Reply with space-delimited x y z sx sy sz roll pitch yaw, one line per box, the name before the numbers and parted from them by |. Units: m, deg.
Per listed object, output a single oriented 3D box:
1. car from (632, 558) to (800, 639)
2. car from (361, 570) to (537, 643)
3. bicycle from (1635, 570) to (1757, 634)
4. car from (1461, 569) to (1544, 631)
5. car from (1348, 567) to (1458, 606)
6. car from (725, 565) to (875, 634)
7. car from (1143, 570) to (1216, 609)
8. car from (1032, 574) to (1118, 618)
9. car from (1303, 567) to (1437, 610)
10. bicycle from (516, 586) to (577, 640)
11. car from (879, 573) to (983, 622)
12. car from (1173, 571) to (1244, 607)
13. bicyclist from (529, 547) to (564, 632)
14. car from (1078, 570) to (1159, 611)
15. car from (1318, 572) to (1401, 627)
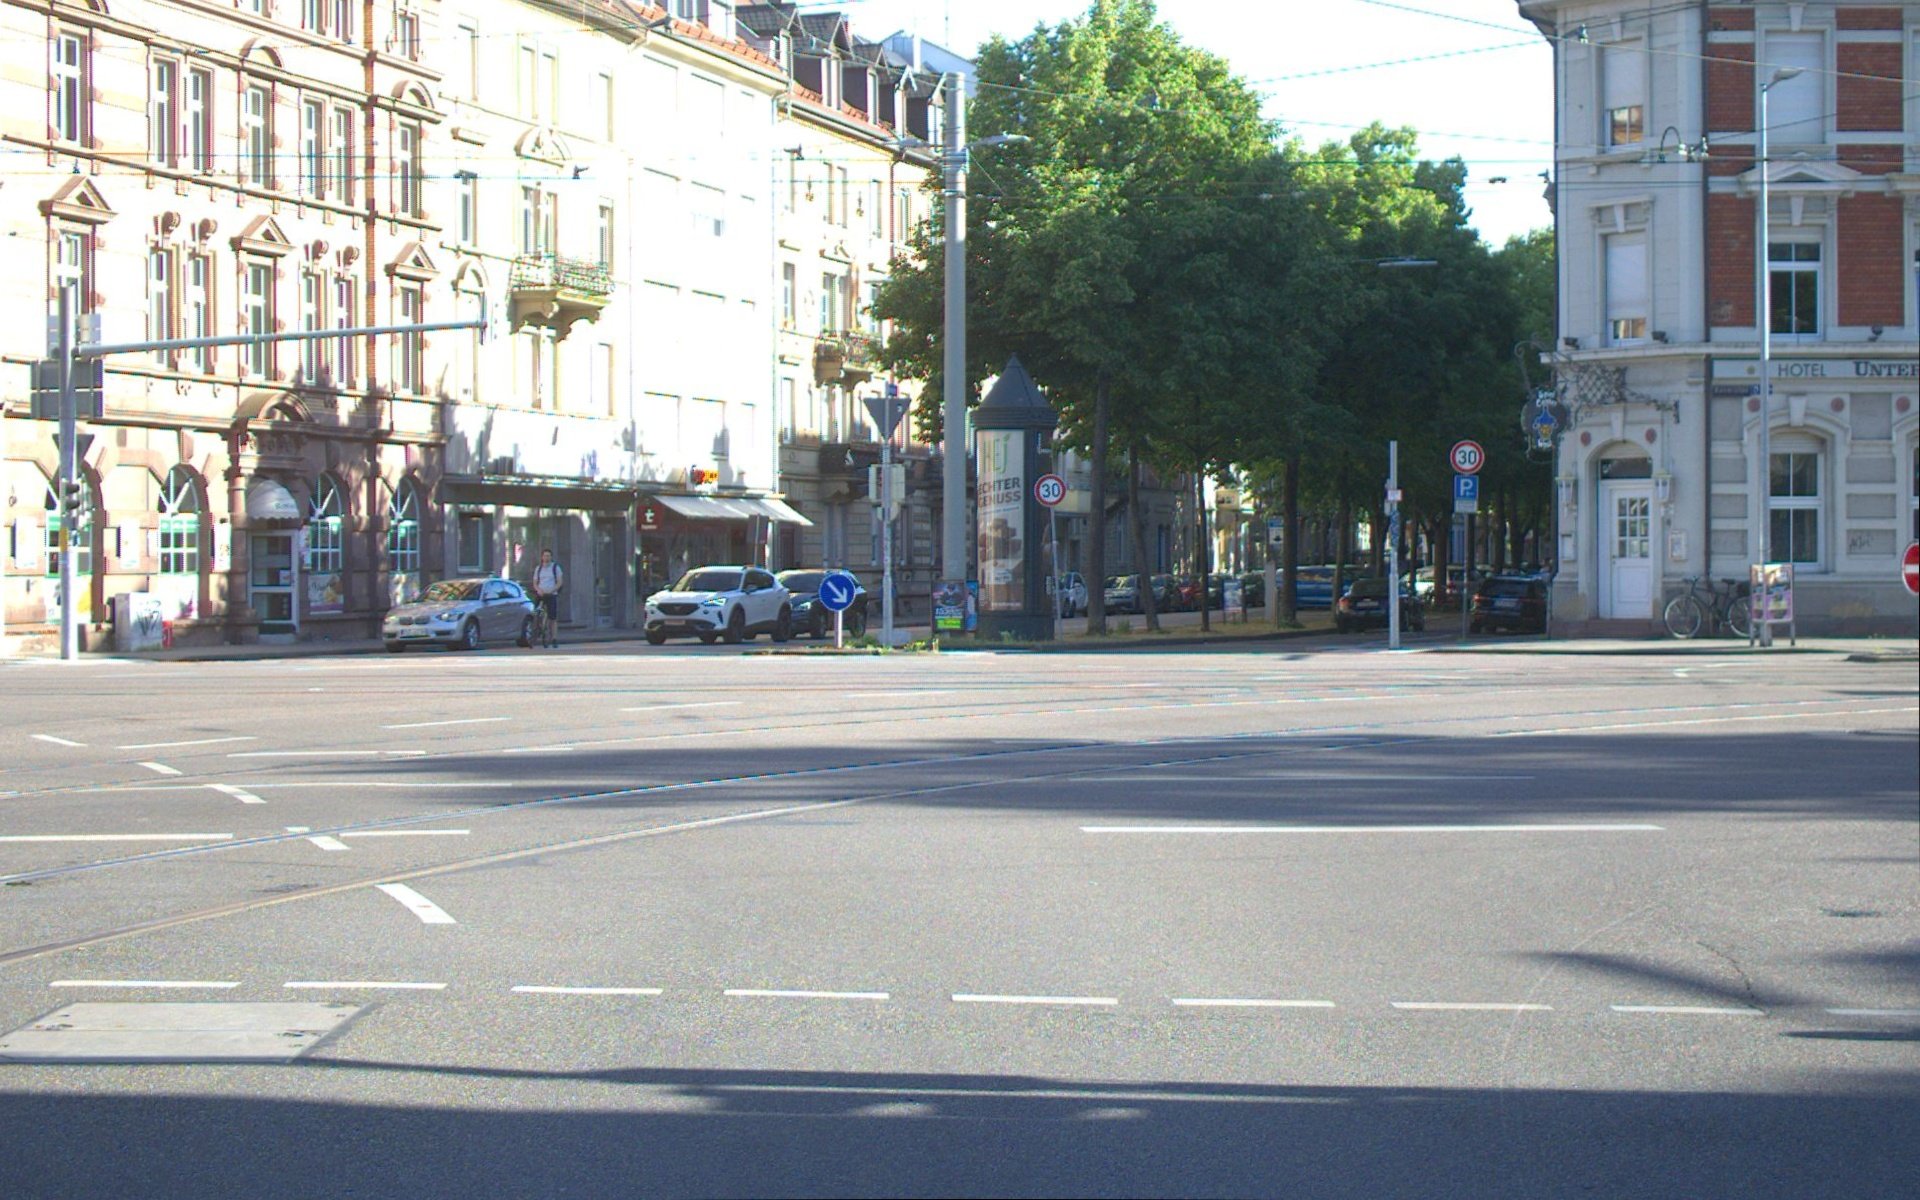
car | -4.752 -0.052 67.465 1.995 1.511 4.166 0 1 16
car | -9.928 0.103 67.039 1.995 1.357 3.816 0 1 16
bicycle | 12.269 0.025 57.336 1.953 1.050 0.715 0 1 10
car | 13.048 -0.025 82.522 1.756 1.415 3.998 0 1 12
car | 14.365 -0.429 111.459 3.435 1.235 1.576 0 1 11
car | -3.398 -0.040 73.639 1.995 1.400 4.166 0 1 16
car | 8.409 -0.417 131.401 1.995 1.400 4.166 0 1 16
car | 3.942 -0.150 116.854 1.995 1.400 4.166 0 1 16
car | 12.579 -0.348 105.387 3.989 1.284 1.694 0 1 11
bicycle | -7.848 0.233 65.295 0.655 0.997 1.664 1 1 12
car | -0.841 -0.091 102.085 1.995 1.400 4.166 0 1 16
car | 9.886 -0.448 136.597 1.995 1.400 4.166 0 1 16
bicyclist | -7.840 -0.202 65.188 0.489 1.596 0.666 0 1 10
car | 5.655 -0.339 122.573 1.995 1.400 4.166 0 1 16
car | 9.992 -0.035 85.882 1.718 1.296 4.071 0 1 12
